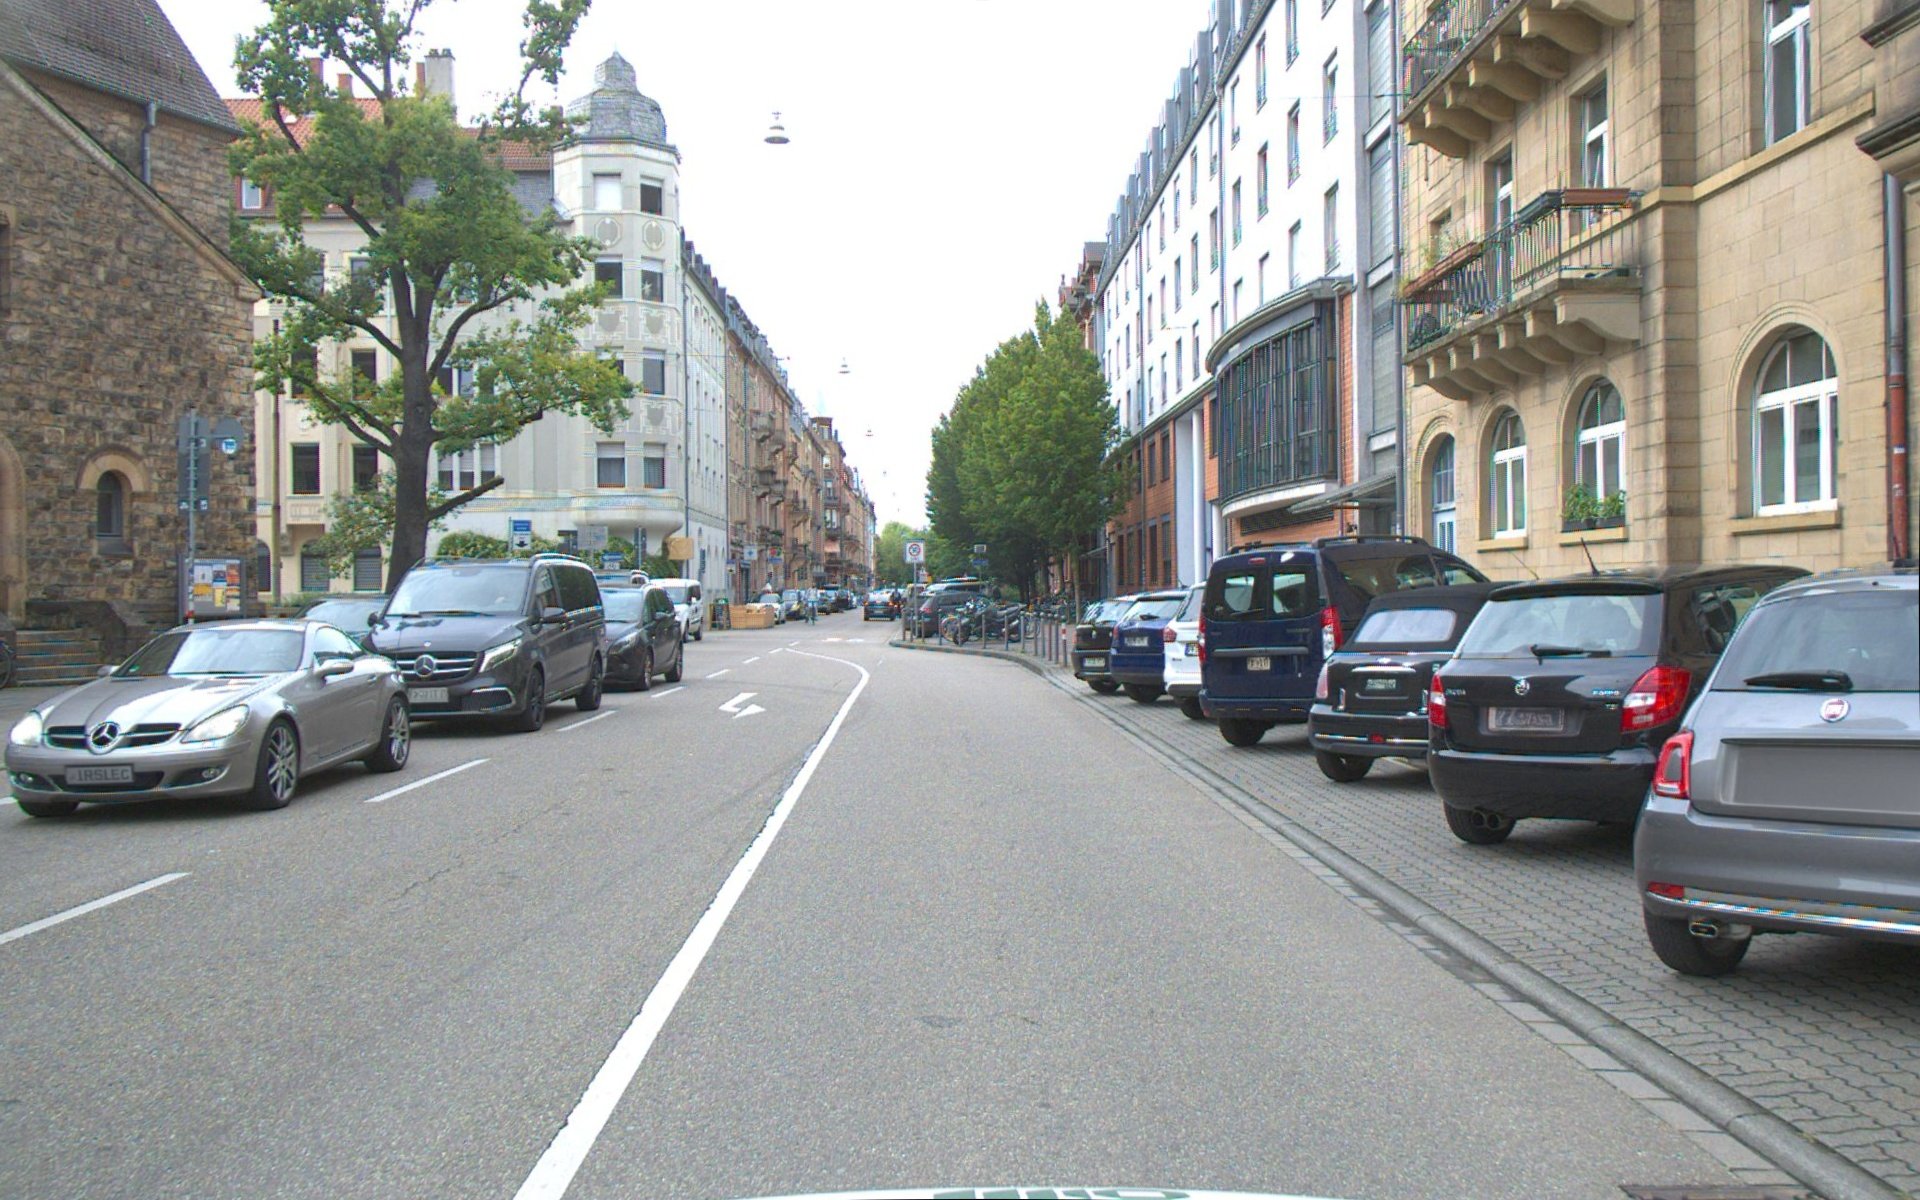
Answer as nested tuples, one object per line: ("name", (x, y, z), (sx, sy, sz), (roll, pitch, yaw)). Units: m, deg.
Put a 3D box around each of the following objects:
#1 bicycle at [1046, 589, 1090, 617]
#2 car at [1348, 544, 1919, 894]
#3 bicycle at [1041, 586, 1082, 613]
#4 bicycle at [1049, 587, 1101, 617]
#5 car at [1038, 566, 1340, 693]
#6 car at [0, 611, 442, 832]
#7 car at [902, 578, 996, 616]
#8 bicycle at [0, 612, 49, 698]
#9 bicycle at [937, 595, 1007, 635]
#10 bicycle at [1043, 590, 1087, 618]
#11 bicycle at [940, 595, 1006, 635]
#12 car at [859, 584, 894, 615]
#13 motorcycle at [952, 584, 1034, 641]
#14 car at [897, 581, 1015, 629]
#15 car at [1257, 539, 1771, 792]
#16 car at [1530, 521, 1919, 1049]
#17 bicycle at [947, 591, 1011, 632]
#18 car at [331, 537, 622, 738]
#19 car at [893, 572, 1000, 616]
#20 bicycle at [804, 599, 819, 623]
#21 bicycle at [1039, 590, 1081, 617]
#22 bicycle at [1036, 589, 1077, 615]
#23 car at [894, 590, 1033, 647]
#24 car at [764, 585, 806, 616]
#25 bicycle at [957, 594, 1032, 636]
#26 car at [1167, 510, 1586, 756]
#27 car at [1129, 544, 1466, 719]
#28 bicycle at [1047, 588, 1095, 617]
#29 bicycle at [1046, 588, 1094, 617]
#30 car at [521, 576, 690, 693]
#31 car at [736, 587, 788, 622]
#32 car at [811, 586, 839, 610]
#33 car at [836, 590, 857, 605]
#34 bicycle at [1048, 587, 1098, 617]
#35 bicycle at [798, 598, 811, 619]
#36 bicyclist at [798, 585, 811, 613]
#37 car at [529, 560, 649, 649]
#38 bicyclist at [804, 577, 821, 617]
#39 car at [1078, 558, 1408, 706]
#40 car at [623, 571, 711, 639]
("bicycle", (4.319, 0.122, 66.372), (1.717, 1.111, 0.565), (0, -1, -2))
("car", (4.398, 0.508, 9.773), (4.425, 1.579, 1.825), (-2, 1, -40))
("bicycle", (4.334, -0.022, 70.703), (1.717, 1.111, 0.565), (0, -1, -2))
("bicycle", (4.352, 0.073, 62.750), (1.894, 1.111, 0.576), (0, -1, -2))
("car", (3.416, 0.383, 24.529), (4.195, 1.504, 1.671), (-4, 2, -26))
("car", (-5.411, 0.786, 12.505), (1.670, 1.309, 4.041), (-3, 0, 0))
("car", (-0.623, -0.169, 95.906), (5.343, 2.027, 1.926), (-2, 0, -36))
("bicycle", (-13.750, 0.756, 23.091), (1.740, 1.172, 0.742), (0, 0, 11))
("bicycle", (0.332, 0.428, 46.225), (1.891, 1.061, 0.611), (-2, -1, -5))
("bicycle", (4.249, 0.176, 66.975), (1.717, 1.111, 0.565), (0, -1, -2))
("bicycle", (0.363, 0.434, 47.738), (1.847, 1.061, 0.611), (-2, -1, -5))
("car", (-4.763, -0.006, 94.309), (1.953, 1.710, 3.998), (0, -1, -3))
("motorcycle", (0.885, 0.327, 44.354), (2.092, 1.454, 0.770), (-2, -1, -5))
("car", (-0.143, 0.178, 61.596), (4.009, 1.612, 1.882), (-2, -1, -33))
("car", (4.451, 0.419, 13.040), (4.035, 1.478, 2.002), (-6, 1, -40))
("car", (4.365, 0.472, 6.901), (4.425, 1.601, 1.722), (-5, 2, -40))
("bicycle", (0.567, 0.358, 49.893), (1.847, 1.161, 0.611), (-2, -1, -5))
("car", (-5.346, 0.349, 19.084), (1.873, 1.989, 5.283), (0, 1, -1))
("car", (-0.686, -0.331, 87.789), (5.562, 2.164, 1.926), (-2, 0, -36))
("bicycle", (-7.080, 0.534, 78.953), (0.556, 1.106, 1.986), (0, 0, 0))
("bicycle", (4.213, 0.163, 69.826), (1.717, 1.111, 0.565), (0, -1, -2))
("bicycle", (4.167, 0.076, 71.452), (1.717, 1.111, 0.565), (0, -1, -2))
("car", (0.124, 0.590, 54.139), (4.238, 1.606, 1.841), (-3, 1, -35))
("car", (-9.546, 0.025, 90.438), (1.905, 1.645, 3.941), (0, 0, -1))
("bicycle", (0.941, 0.414, 45.459), (1.970, 1.081, 0.611), (-2, -1, -5))
("car", (4.096, 0.208, 15.878), (4.249, 1.939, 1.850), (-5, 2, -43))
("car", (3.949, 0.293, 19.009), (3.967, 1.629, 1.739), (-5, 2, -42))
("bicycle", (4.353, 0.101, 64.960), (1.799, 1.111, 0.565), (0, -1, -2))
("bicycle", (4.257, 0.088, 64.162), (1.799, 1.111, 0.542), (0, -1, -2))
("car", (-5.604, 0.482, 26.692), (1.807, 1.713, 4.547), (0, 1, -1))
("car", (-9.436, 0.220, 79.040), (1.904, 1.580, 3.818), (-2, 0, 1))
("car", (-10.096, -0.150, 123.990), (1.905, 1.772, 3.941), (0, 0, -1))
("car", (-10.767, -0.221, 156.517), (1.954, 1.344, 3.996), (0, -1, -5))
("bicycle", (4.332, 0.081, 63.356), (1.857, 1.111, 0.542), (0, -1, -2))
("bicycle", (-7.871, 0.436, 83.753), (0.524, 0.995, 1.864), (0, -1, -2))
("bicyclist", (-7.868, -0.057, 83.744), (0.655, 1.423, 0.783), (0, -1, -4))
("car", (-9.140, 0.083, 41.179), (1.972, 2.049, 5.181), (0, 0, -2))
("bicyclist", (-7.058, -0.128, 79.130), (0.766, 1.899, 0.714), (0, 0, 0))
("car", (3.741, 0.366, 21.713), (3.948, 1.560, 1.912), (-5, 2, -31))
("car", (-8.797, 0.121, 49.990), (1.805, 1.973, 4.548), (0, 0, 0))
